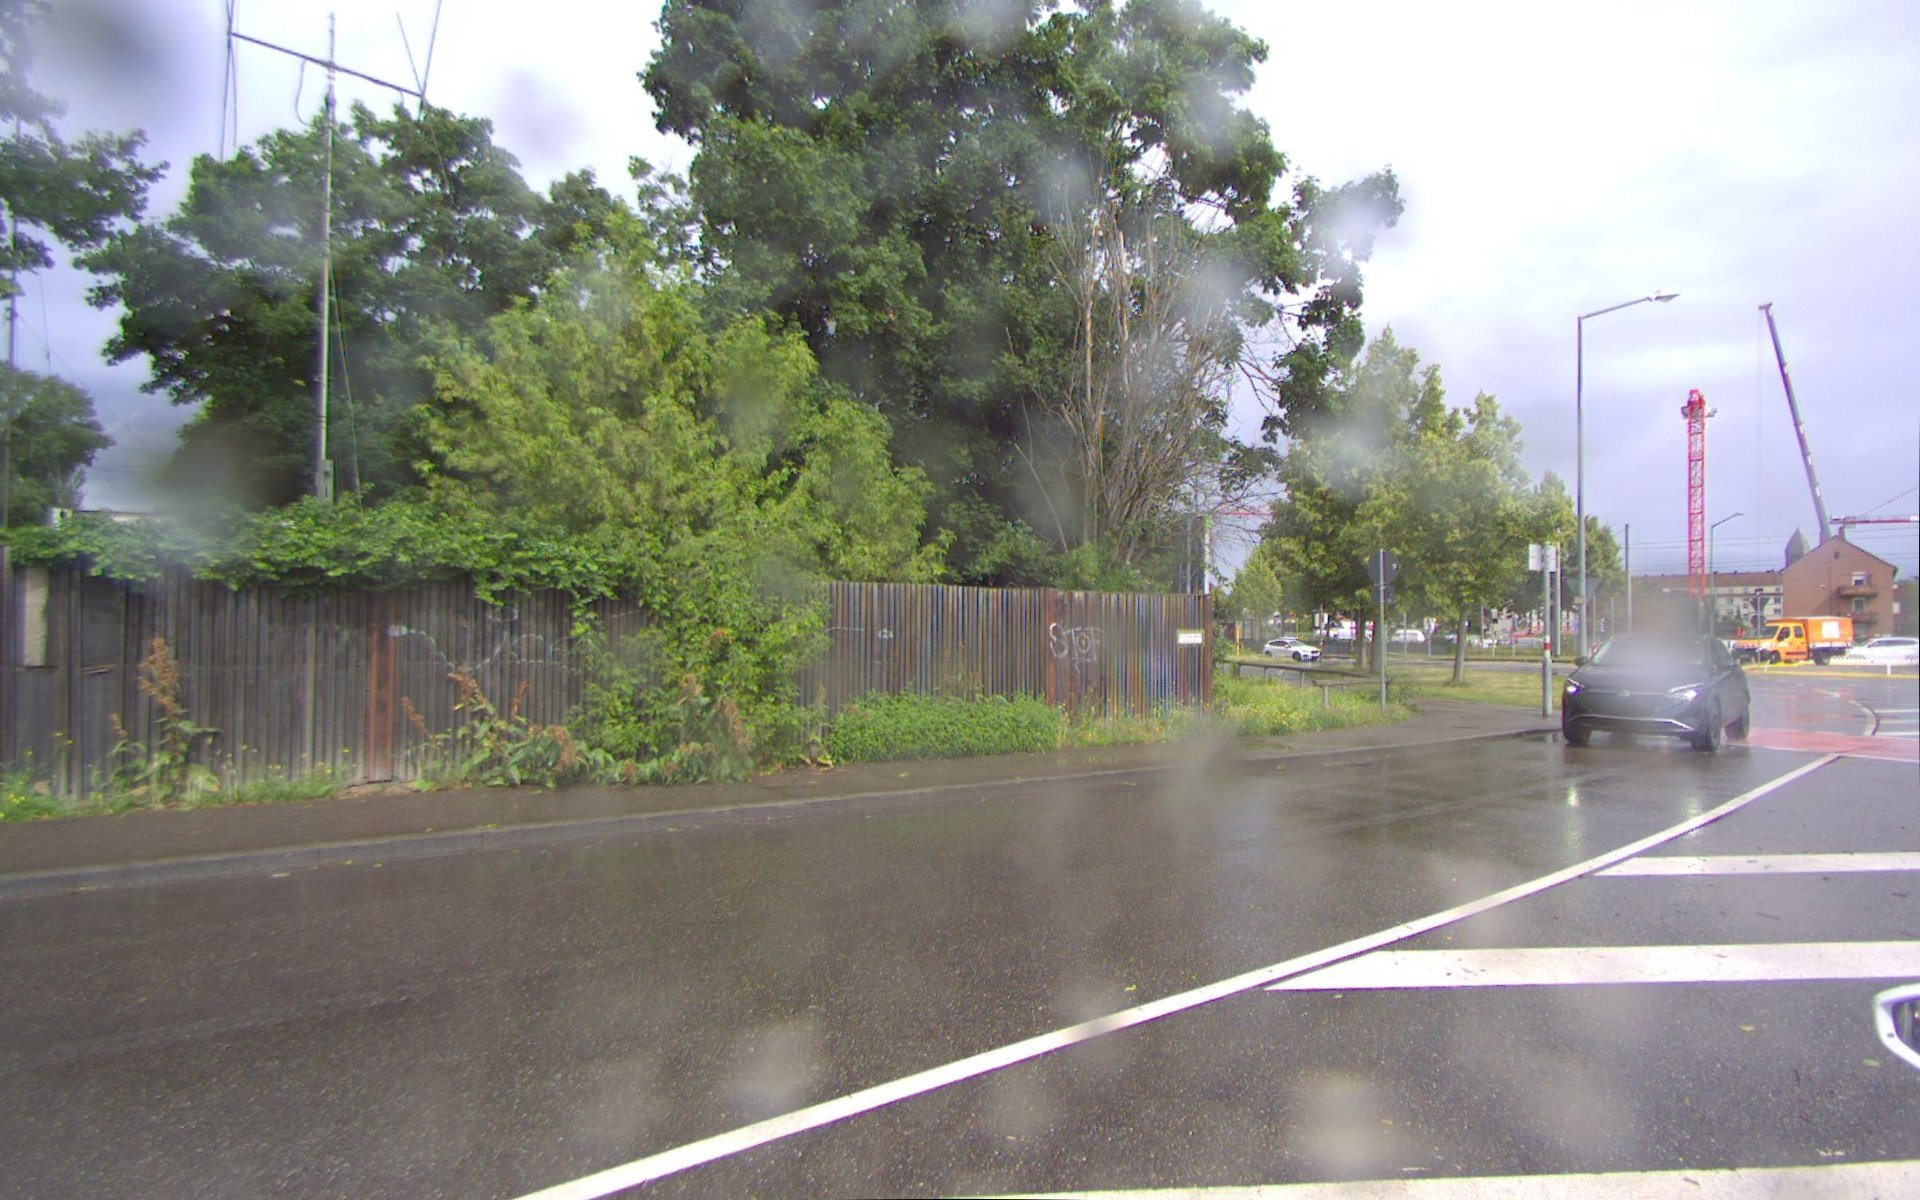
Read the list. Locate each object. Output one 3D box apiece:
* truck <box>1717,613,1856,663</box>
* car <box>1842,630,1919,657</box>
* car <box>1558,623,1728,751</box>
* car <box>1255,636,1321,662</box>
[{"bbox_3d":[45.768,2.097,55.639,6.970,2.685,2.323,1,-1,-15],"label":"truck"},{"bbox_3d":[56.466,2.647,61.488,3.441,1.605,1.565,0,-1,27],"label":"car"},{"bbox_3d":[10.555,1.247,15.404,1.714,1.685,4.090,-3,-4,40],"label":"car"},{"bbox_3d":[22.798,3.380,70.005,1.613,1.649,4.373,1,-1,-32],"label":"car"}]
